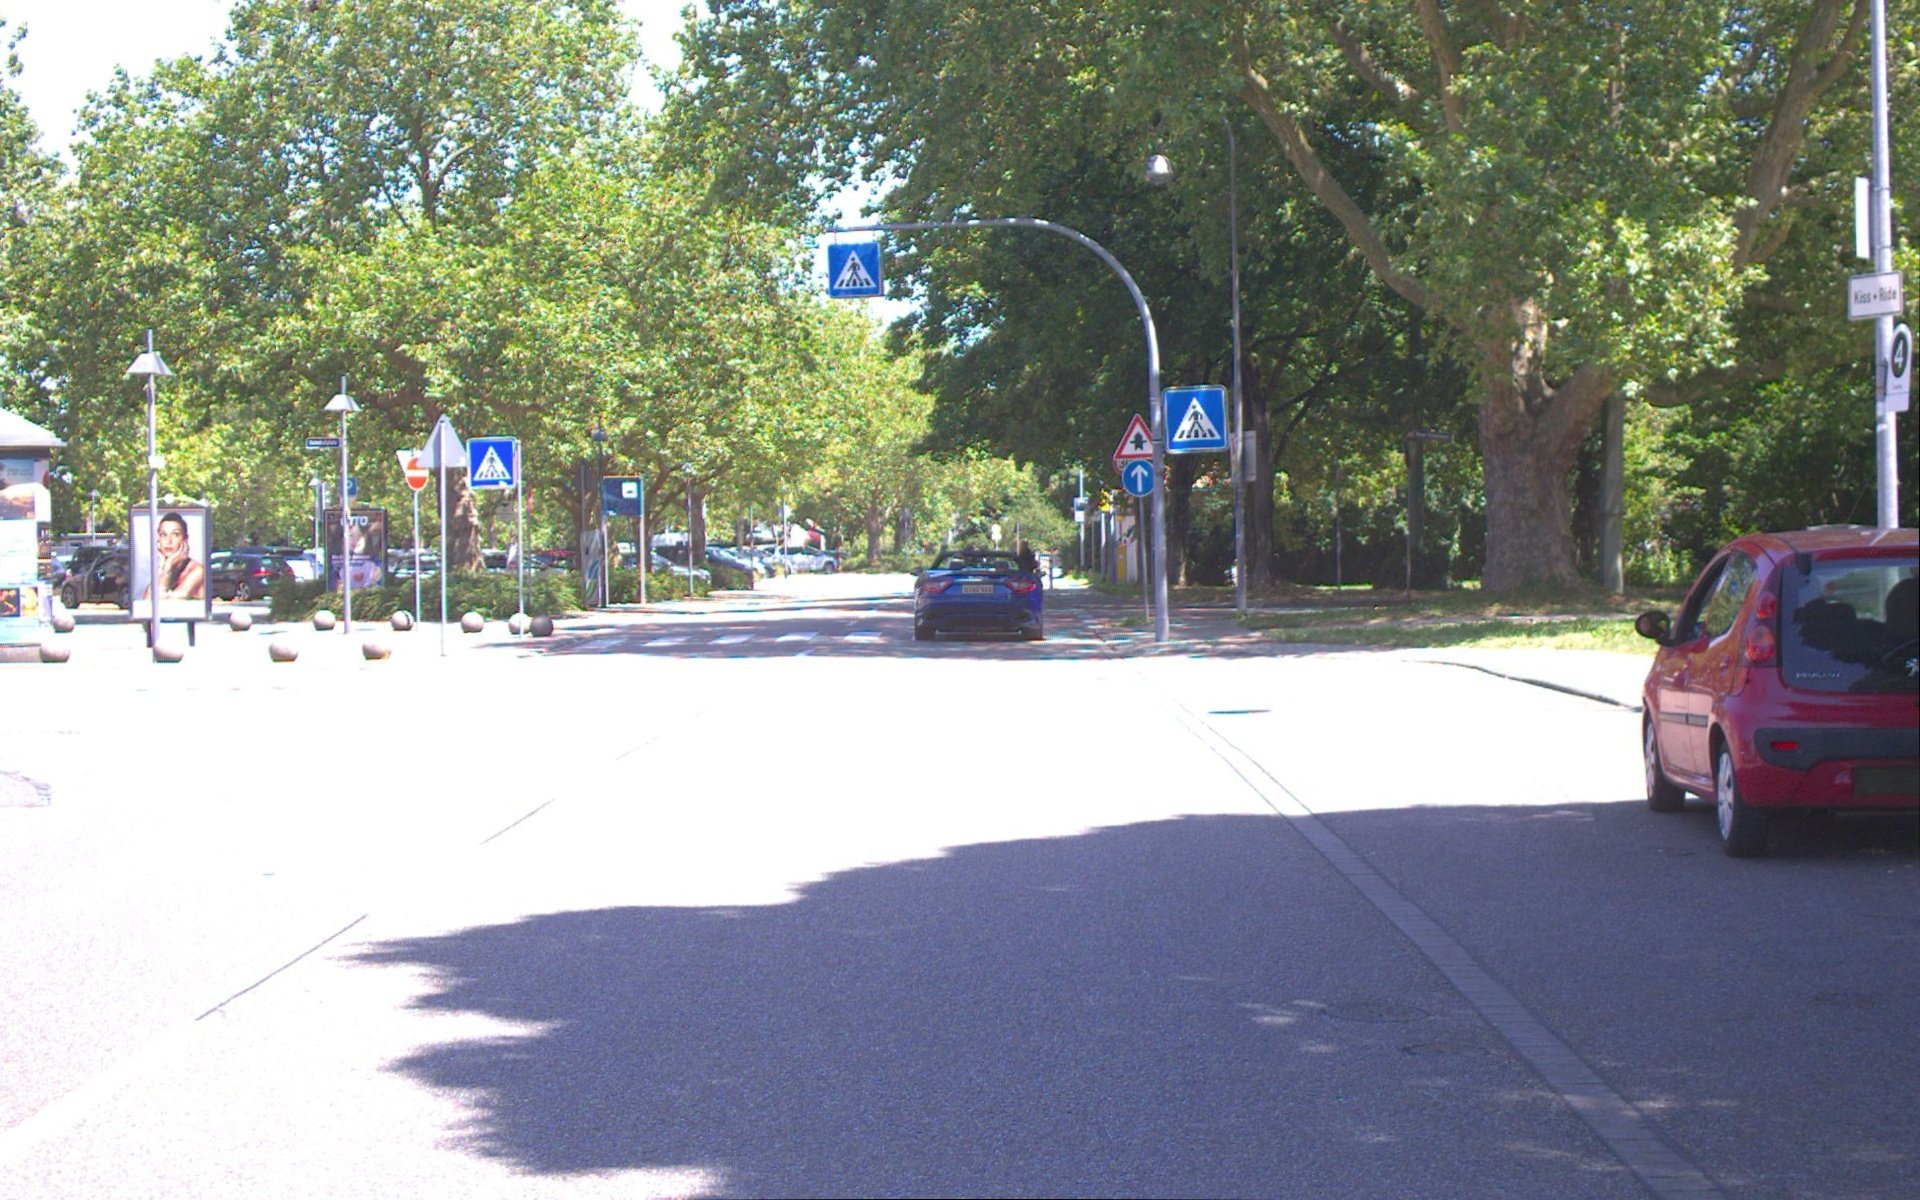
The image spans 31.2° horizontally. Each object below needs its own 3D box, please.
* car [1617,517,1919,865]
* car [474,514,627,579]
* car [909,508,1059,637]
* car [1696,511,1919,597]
[{"bbox_3d":[4.266,0.351,16.520,1.719,1.473,3.706,-1,1,4],"label":"car"},{"bbox_3d":[-11.600,-1.504,97.320,3.986,1.775,2.001,-1,0,-17],"label":"car"},{"bbox_3d":[0.402,-0.414,51.295,2.125,1.842,4.048,0,1,2],"label":"car"},{"bbox_3d":[15.563,-0.841,62.224,4.105,1.461,2.000,-1,1,3],"label":"car"}]
